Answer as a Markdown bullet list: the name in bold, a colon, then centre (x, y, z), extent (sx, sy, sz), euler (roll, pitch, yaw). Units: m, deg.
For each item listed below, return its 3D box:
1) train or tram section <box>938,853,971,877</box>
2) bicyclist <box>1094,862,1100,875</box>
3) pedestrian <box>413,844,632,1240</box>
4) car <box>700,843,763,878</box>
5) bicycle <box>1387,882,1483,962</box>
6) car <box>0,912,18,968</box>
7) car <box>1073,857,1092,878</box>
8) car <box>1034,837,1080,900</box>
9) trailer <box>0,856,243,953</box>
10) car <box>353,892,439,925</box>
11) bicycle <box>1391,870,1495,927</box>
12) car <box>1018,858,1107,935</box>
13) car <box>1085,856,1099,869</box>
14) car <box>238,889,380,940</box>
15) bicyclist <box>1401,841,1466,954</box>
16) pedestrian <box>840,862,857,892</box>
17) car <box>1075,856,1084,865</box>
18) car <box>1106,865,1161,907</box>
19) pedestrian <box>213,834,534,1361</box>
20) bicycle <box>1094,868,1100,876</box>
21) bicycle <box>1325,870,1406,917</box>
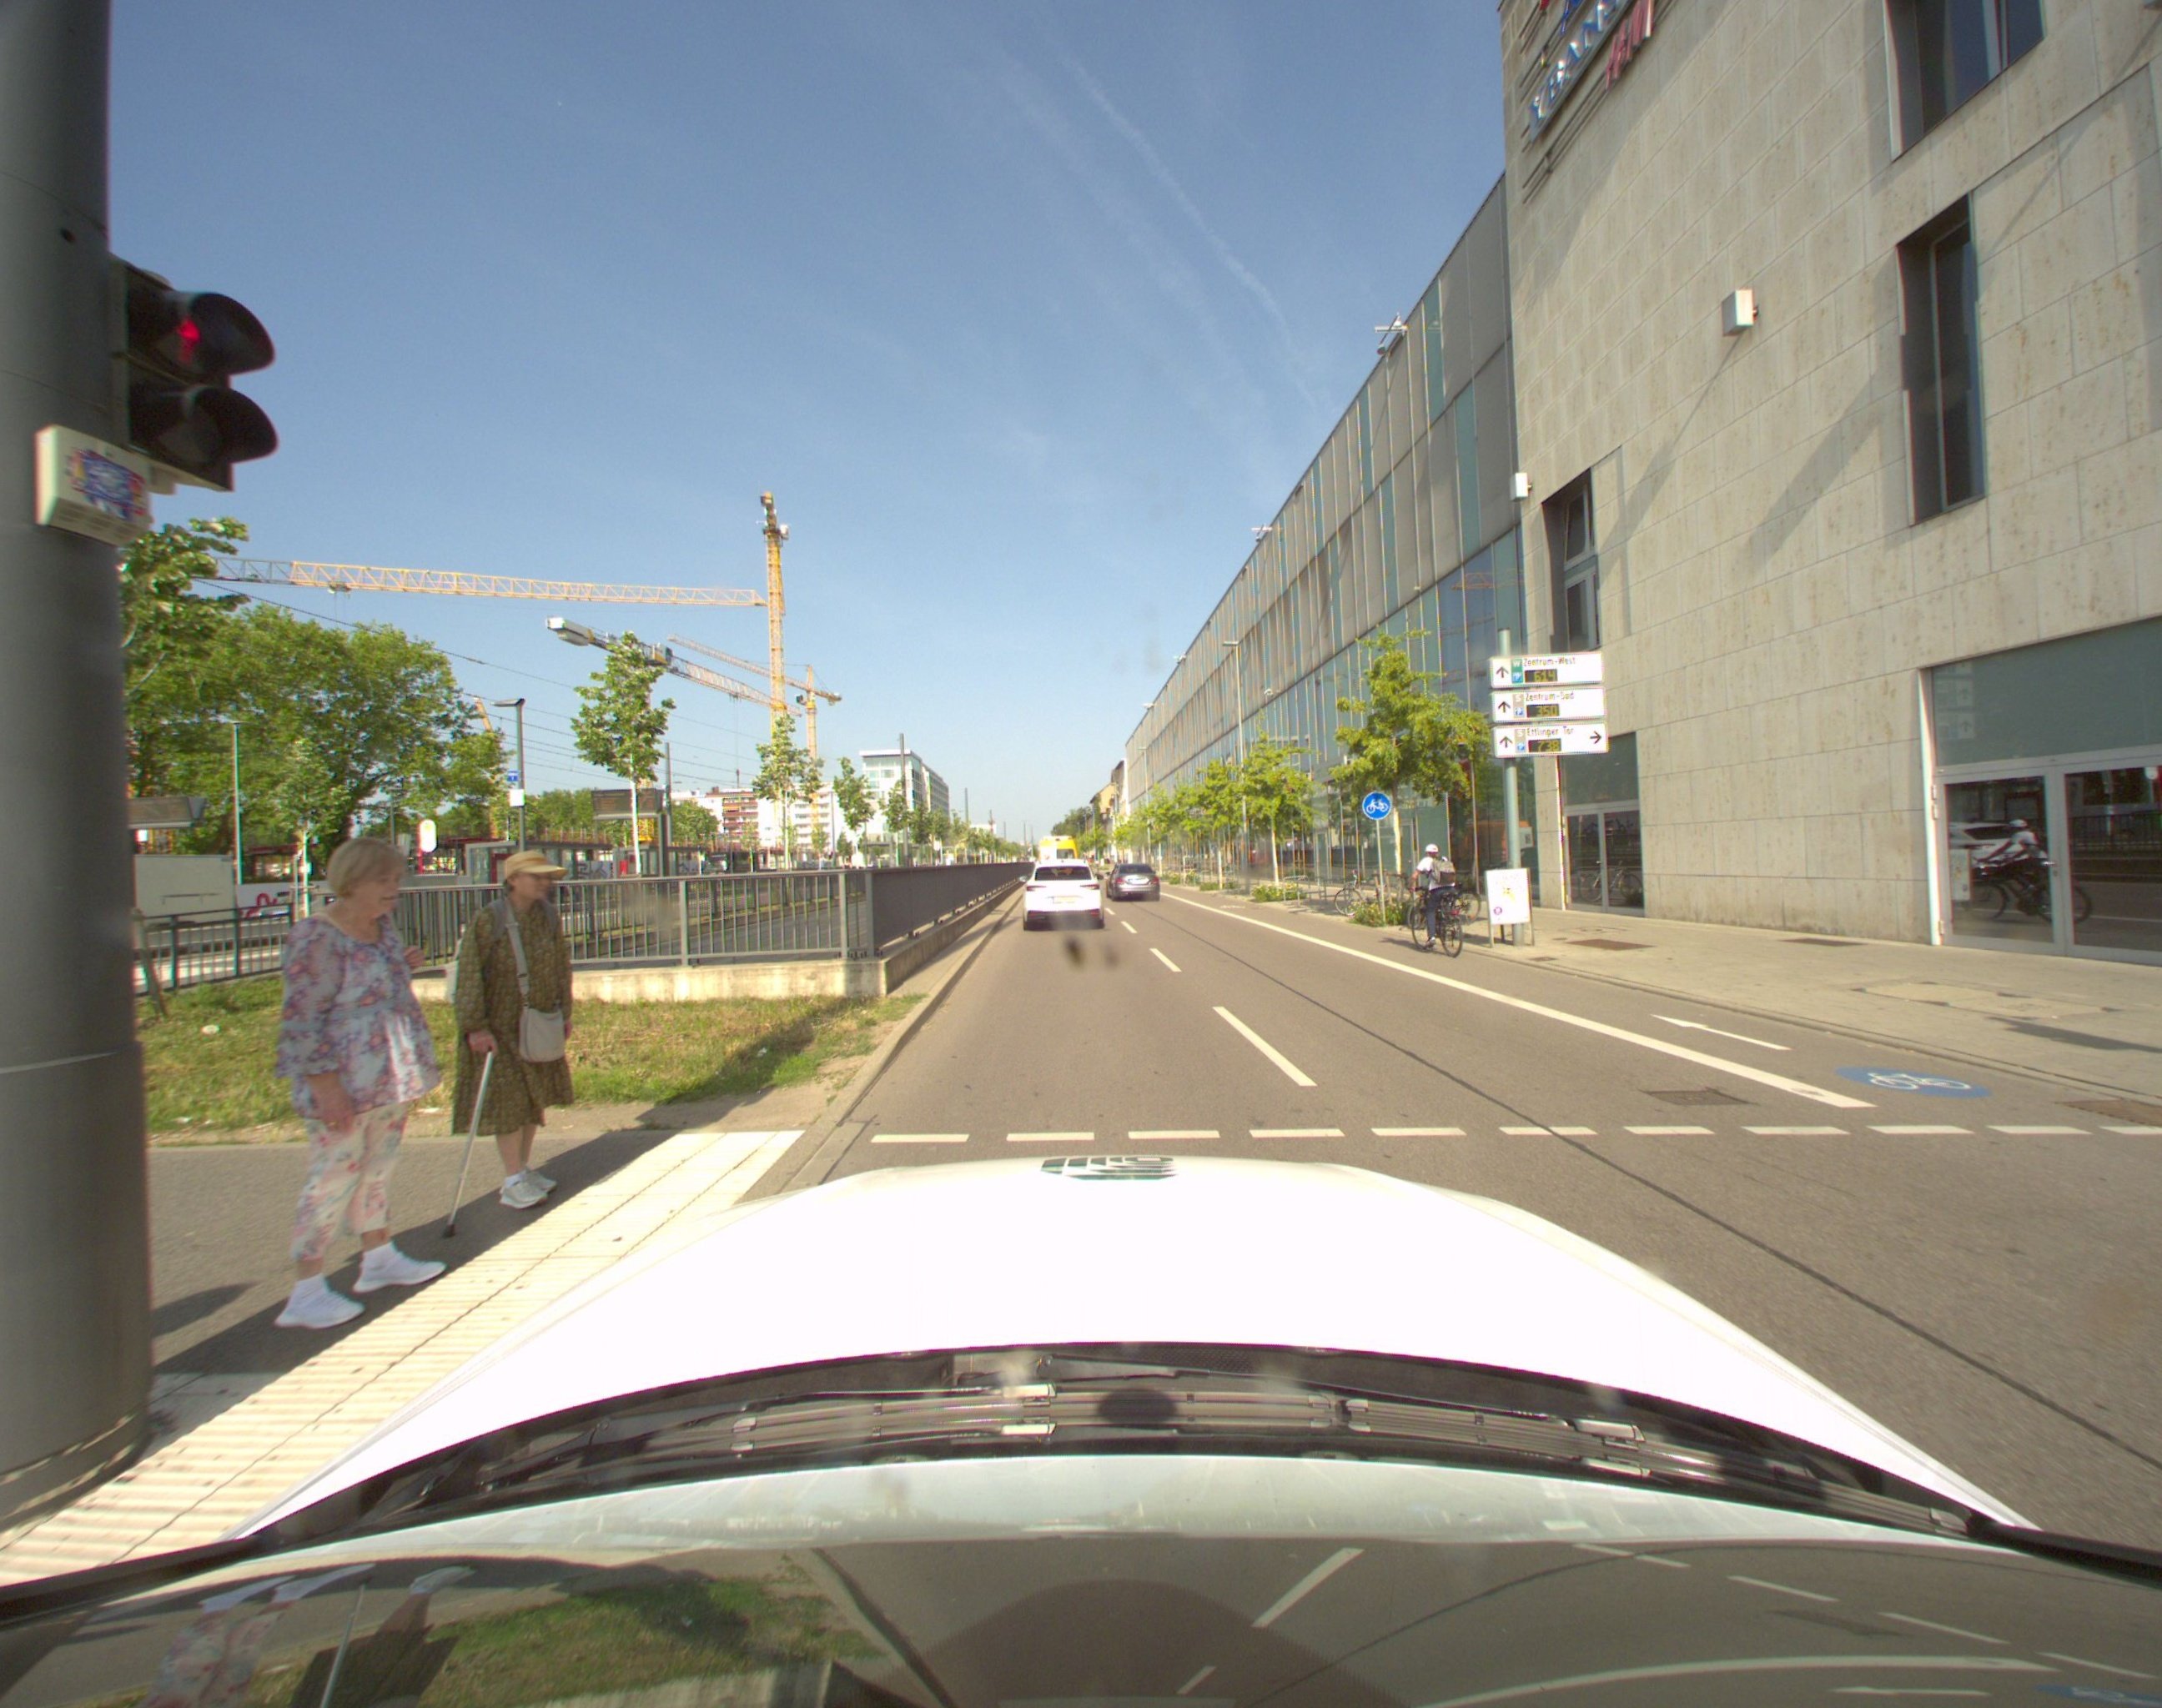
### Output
- **train or tram section**: centre (-20.335, 1.805, 131.976), extent (2.898, 3.676, 18.125), euler (-1, -1, -1)
- **bicyclist**: centre (2.032, 1.870, 103.222), extent (0.637, 1.577, 0.771), euler (-2, 0, 0)
- **pedestrian**: centre (-2.573, 0.792, 3.830), extent (0.466, 1.650, 0.777), euler (-2, 0, -2)
- **car**: centre (-37.262, 0.723, 87.285), extent (3.047, 3.513, 9.224), euler (-1, -1, -3)
- **bicycle**: centre (5.698, 1.058, 13.249), extent (0.659, 1.117, 2.051), euler (-2, 0, 0)
- **car**: centre (-29.597, 2.346, 19.861), extent (1.639, 1.469, 4.398), euler (-2, 0, -3)
- **car**: centre (0.129, 1.379, 81.435), extent (1.783, 2.014, 3.999), euler (-1, -1, 0)
- **car**: centre (-1.178, 0.615, 40.222), extent (2.015, 2.795, 5.397), euler (-2, 2, -2)
- **trailer**: centre (-30.224, 1.481, 25.920), extent (2.040, 2.781, 5.016), euler (-1, -1, -3)
- **car**: centre (-35.431, 2.796, 42.245), extent (1.592, 1.463, 3.431), euler (-2, -1, -2)
- **bicycle**: centre (7.381, 0.903, 16.653), extent (1.833, 1.113, 0.687), euler (-1, 0, -1)
- **car**: centre (-0.460, 0.923, 19.521), extent (1.865, 1.574, 3.997), euler (-2, 0, -2)
- **car**: centre (1.832, 1.438, 139.781), extent (2.058, 2.013, 4.583), euler (-2, 0, -3)
- **car**: centre (-30.604, 2.350, 32.473), extent (1.716, 1.662, 4.147), euler (-2, 0, -2)
- **bicyclist**: centre (5.690, 0.683, 13.166), extent (0.649, 1.749, 0.769), euler (-2, 0, 0)
- **pedestrian**: centre (-13.127, 1.296, 45.910), extent (0.734, 1.619, 0.710), euler (-2, -1, -3)
- **car**: centre (-0.340, 1.507, 183.278), extent (1.808, 1.813, 3.832), euler (-2, 0, -3)
- **car**: centre (1.952, 1.180, 31.563), extent (1.755, 1.436, 4.112), euler (-1, 0, -2)
- **pedestrian**: centre (-2.512, 0.771, 2.979), extent (0.466, 1.650, 0.777), euler (-2, 0, -2)
- **bicycle**: centre (2.020, 2.262, 103.303), extent (0.653, 0.939, 1.517), euler (-2, 0, 0)
- **bicycle**: centre (7.273, 1.012, 20.826), extent (1.872, 1.109, 0.490), euler (-2, 0, -1)
